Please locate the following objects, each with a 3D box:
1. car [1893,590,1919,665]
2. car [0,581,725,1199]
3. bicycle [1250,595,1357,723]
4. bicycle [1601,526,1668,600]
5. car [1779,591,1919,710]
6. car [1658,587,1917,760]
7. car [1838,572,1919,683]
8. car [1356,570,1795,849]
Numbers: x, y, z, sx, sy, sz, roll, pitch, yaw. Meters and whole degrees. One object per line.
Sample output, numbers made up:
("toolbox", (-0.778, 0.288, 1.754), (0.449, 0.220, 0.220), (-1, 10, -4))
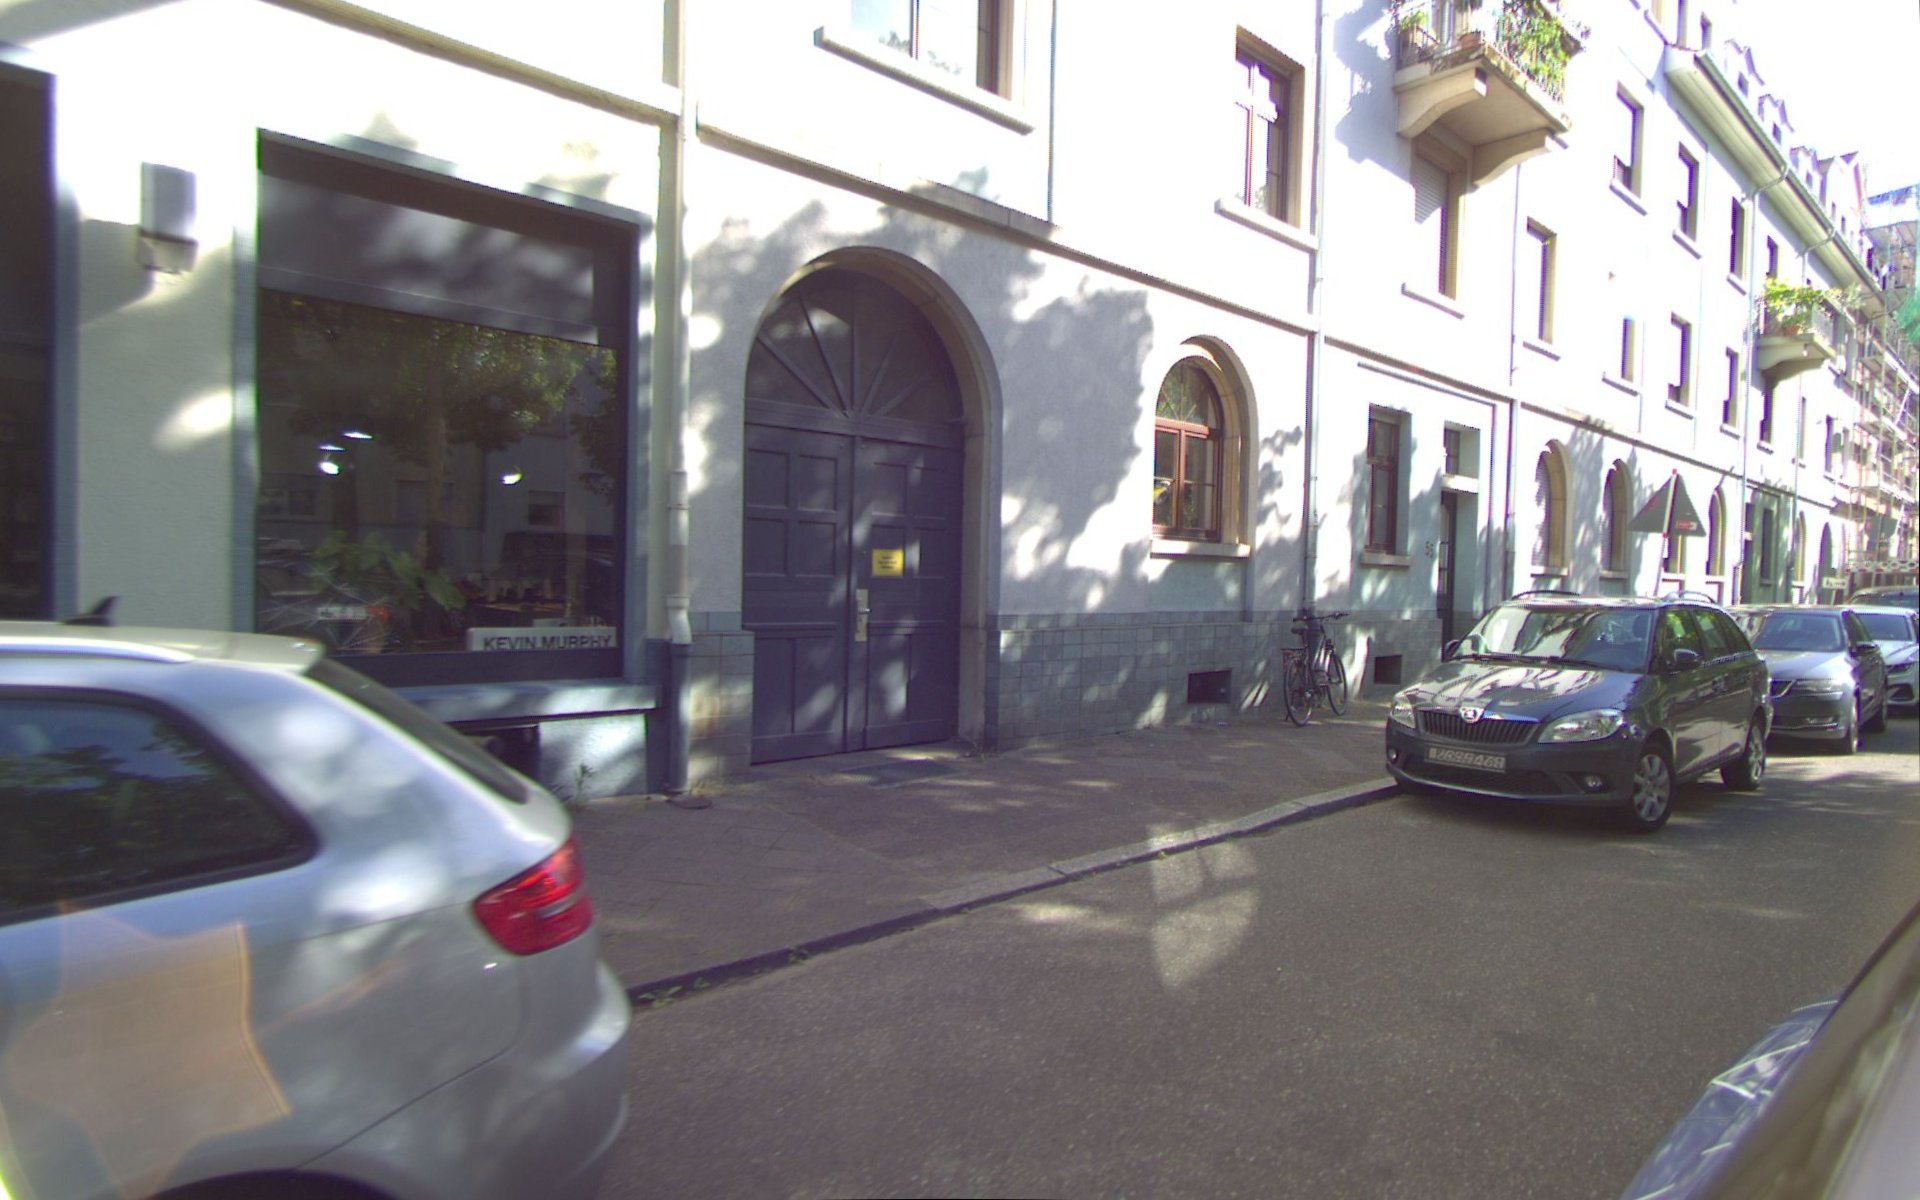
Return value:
("car", (21.571, 0.592, 21.748), (4.208, 1.530, 1.708), (0, 2, -40))
("car", (-2.587, 0.700, 1.088), (4.215, 1.449, 1.773), (0, 1, -40))
("bicycle", (3.573, 0.555, 10.436), (0.406, 1.201, 1.821), (1, 1, 40))
("bicycle", (11.374, -0.603, 17.038), (1.948, 1.196, 0.395), (0, 1, -40))
("car", (13.295, 0.626, 14.553), (4.489, 1.437, 1.610), (0, 2, -42))
("car", (9.136, 0.652, 11.063), (3.899, 1.511, 1.602), (0, 2, -42))
("car", (17.267, 0.463, 18.131), (3.921, 1.816, 1.774), (0, 2, -42))
("car", (4.748, 0.599, 7.580), (3.969, 1.570, 1.584), (0, 1, -39))
